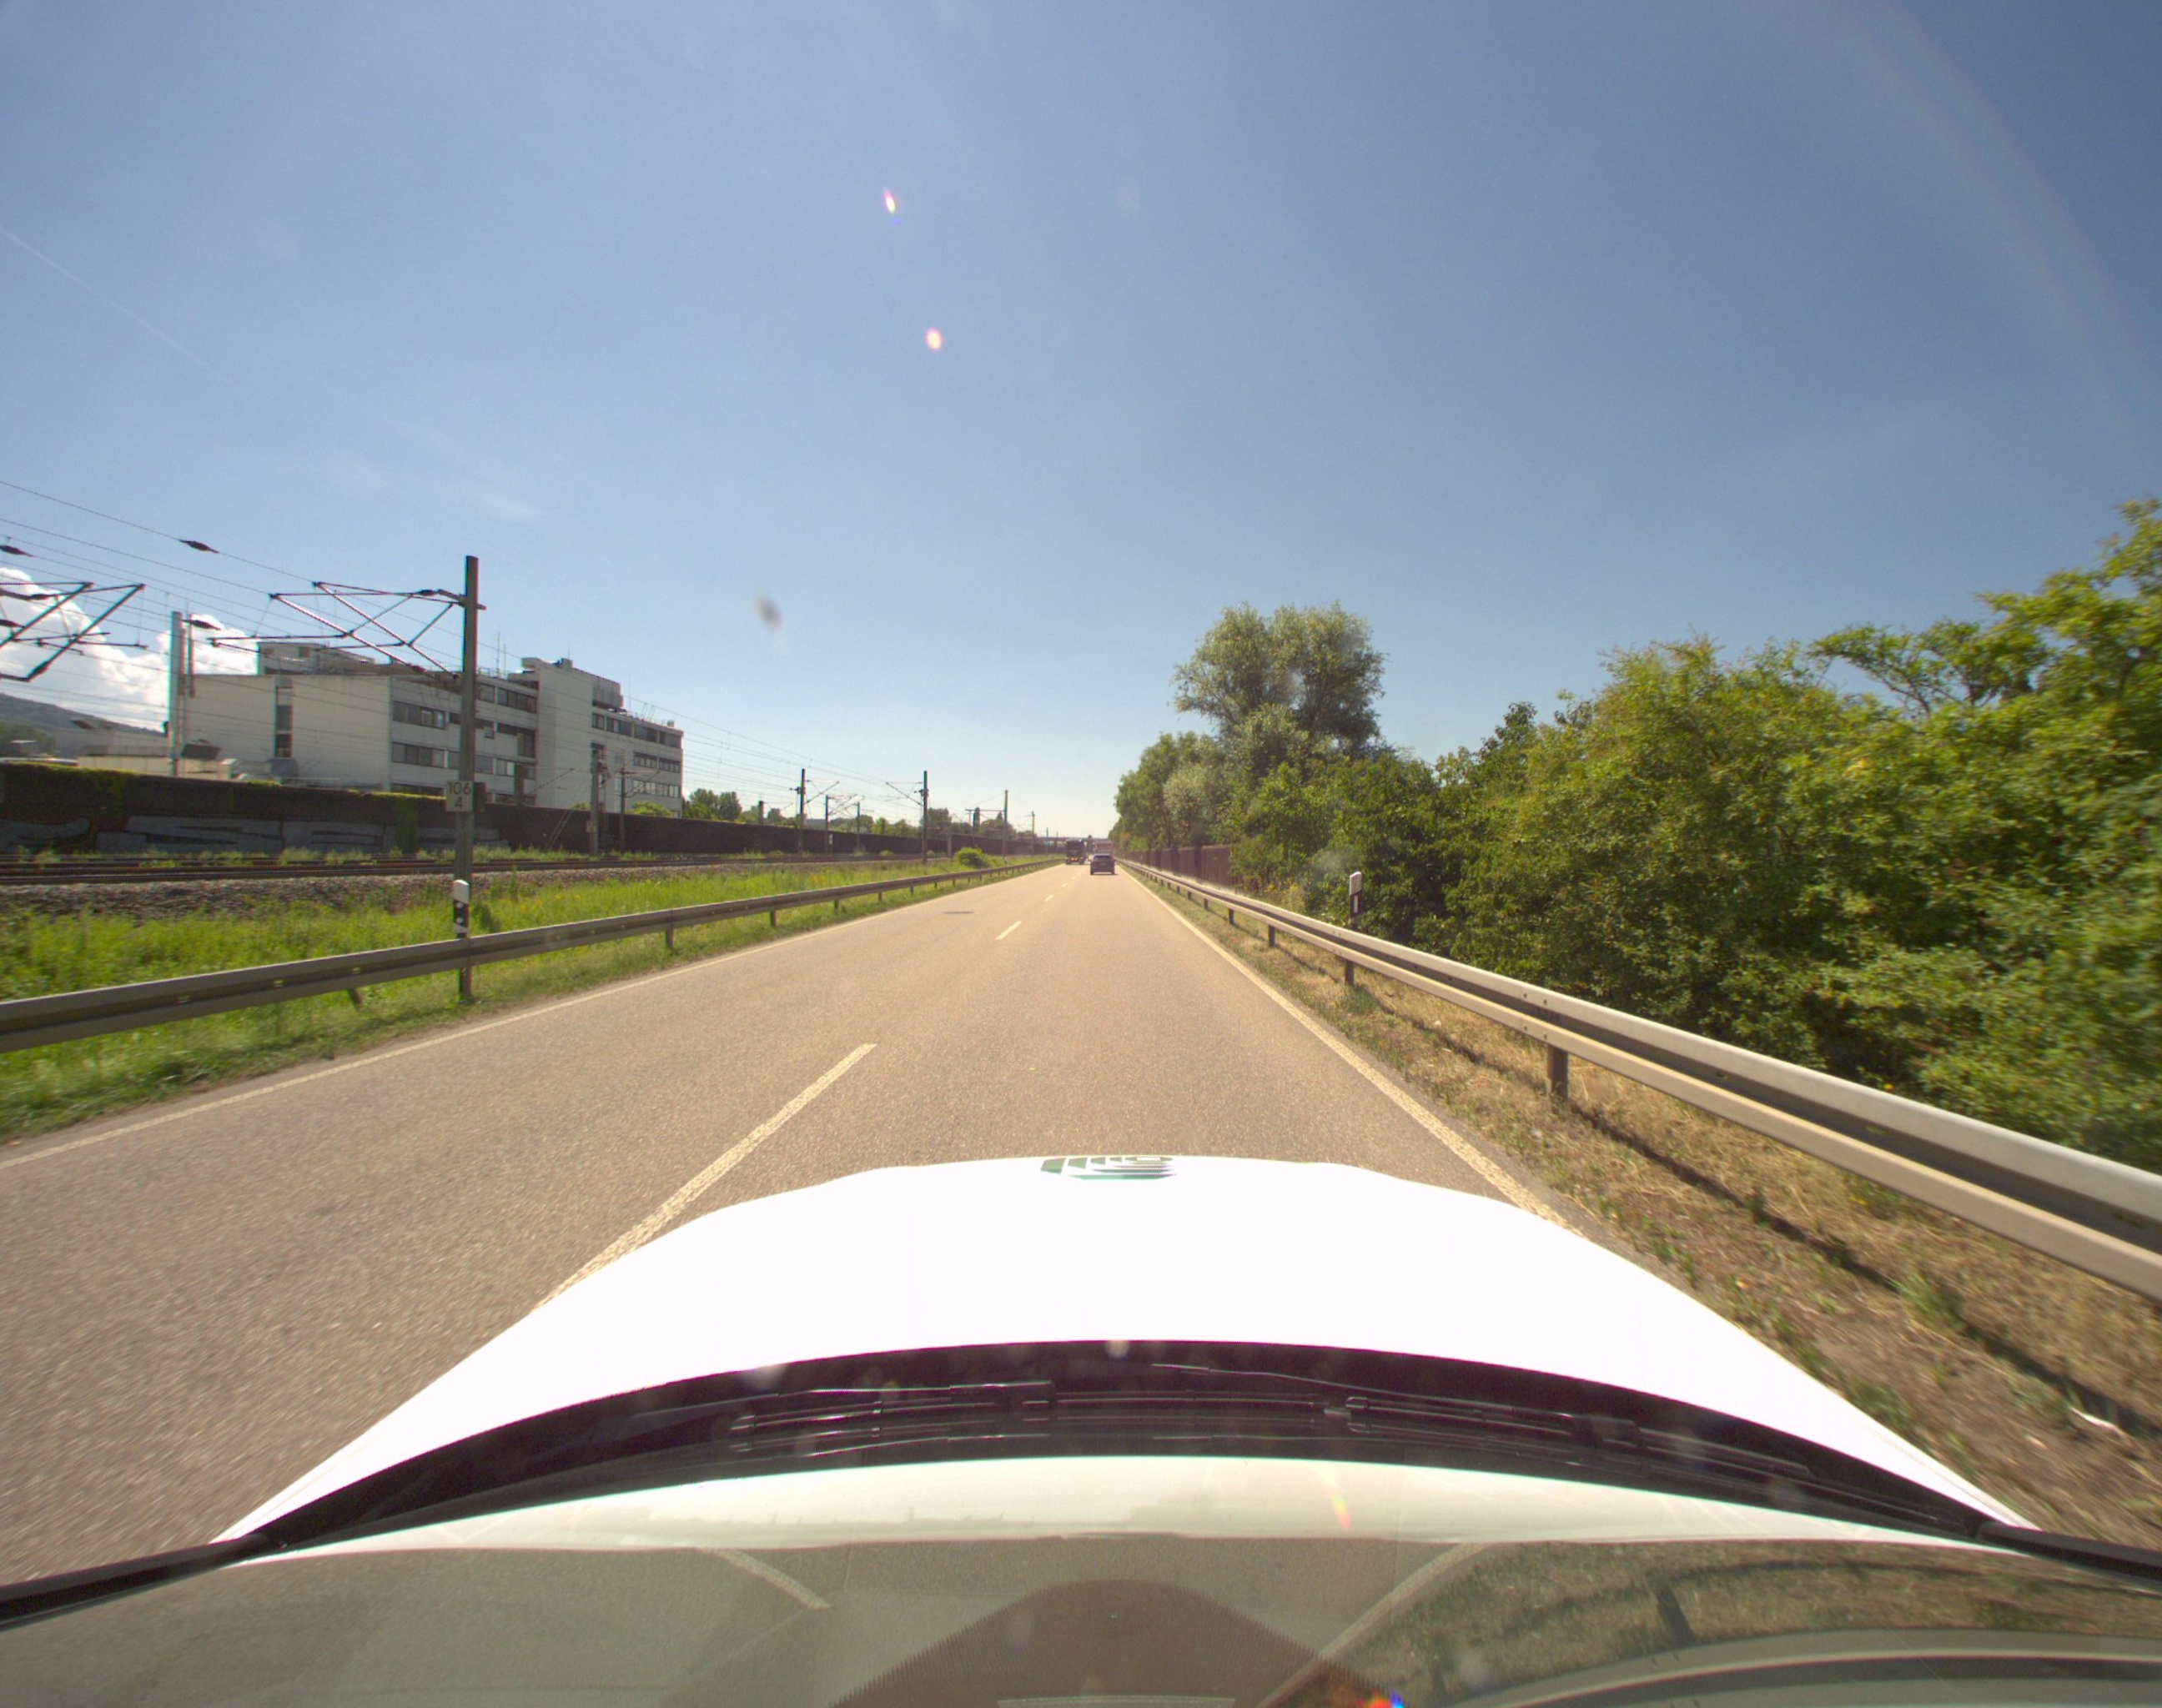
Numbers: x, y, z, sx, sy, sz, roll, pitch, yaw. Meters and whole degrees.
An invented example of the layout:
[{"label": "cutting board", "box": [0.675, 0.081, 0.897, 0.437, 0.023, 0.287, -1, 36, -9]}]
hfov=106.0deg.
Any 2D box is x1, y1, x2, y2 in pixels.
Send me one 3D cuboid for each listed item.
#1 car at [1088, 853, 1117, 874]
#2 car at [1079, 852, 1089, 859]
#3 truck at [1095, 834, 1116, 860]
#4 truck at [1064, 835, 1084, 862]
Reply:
[{"label": "car", "box": [1.556, 0.680, 60.784, 1.987, 1.508, 3.999, -1, 0, -1]}, {"label": "car", "box": [0.675, 0.254, 169.272, 1.968, 1.508, 4.164, 0, 0, 1]}, {"label": "truck", "box": [3.488, -0.930, 115.005, 2.760, 3.425, 10.823, 0, 0, 2]}, {"label": "truck", "box": [-0.980, -0.793, 116.786, 2.649, 3.626, 10.978, 0, 0, 1]}]
